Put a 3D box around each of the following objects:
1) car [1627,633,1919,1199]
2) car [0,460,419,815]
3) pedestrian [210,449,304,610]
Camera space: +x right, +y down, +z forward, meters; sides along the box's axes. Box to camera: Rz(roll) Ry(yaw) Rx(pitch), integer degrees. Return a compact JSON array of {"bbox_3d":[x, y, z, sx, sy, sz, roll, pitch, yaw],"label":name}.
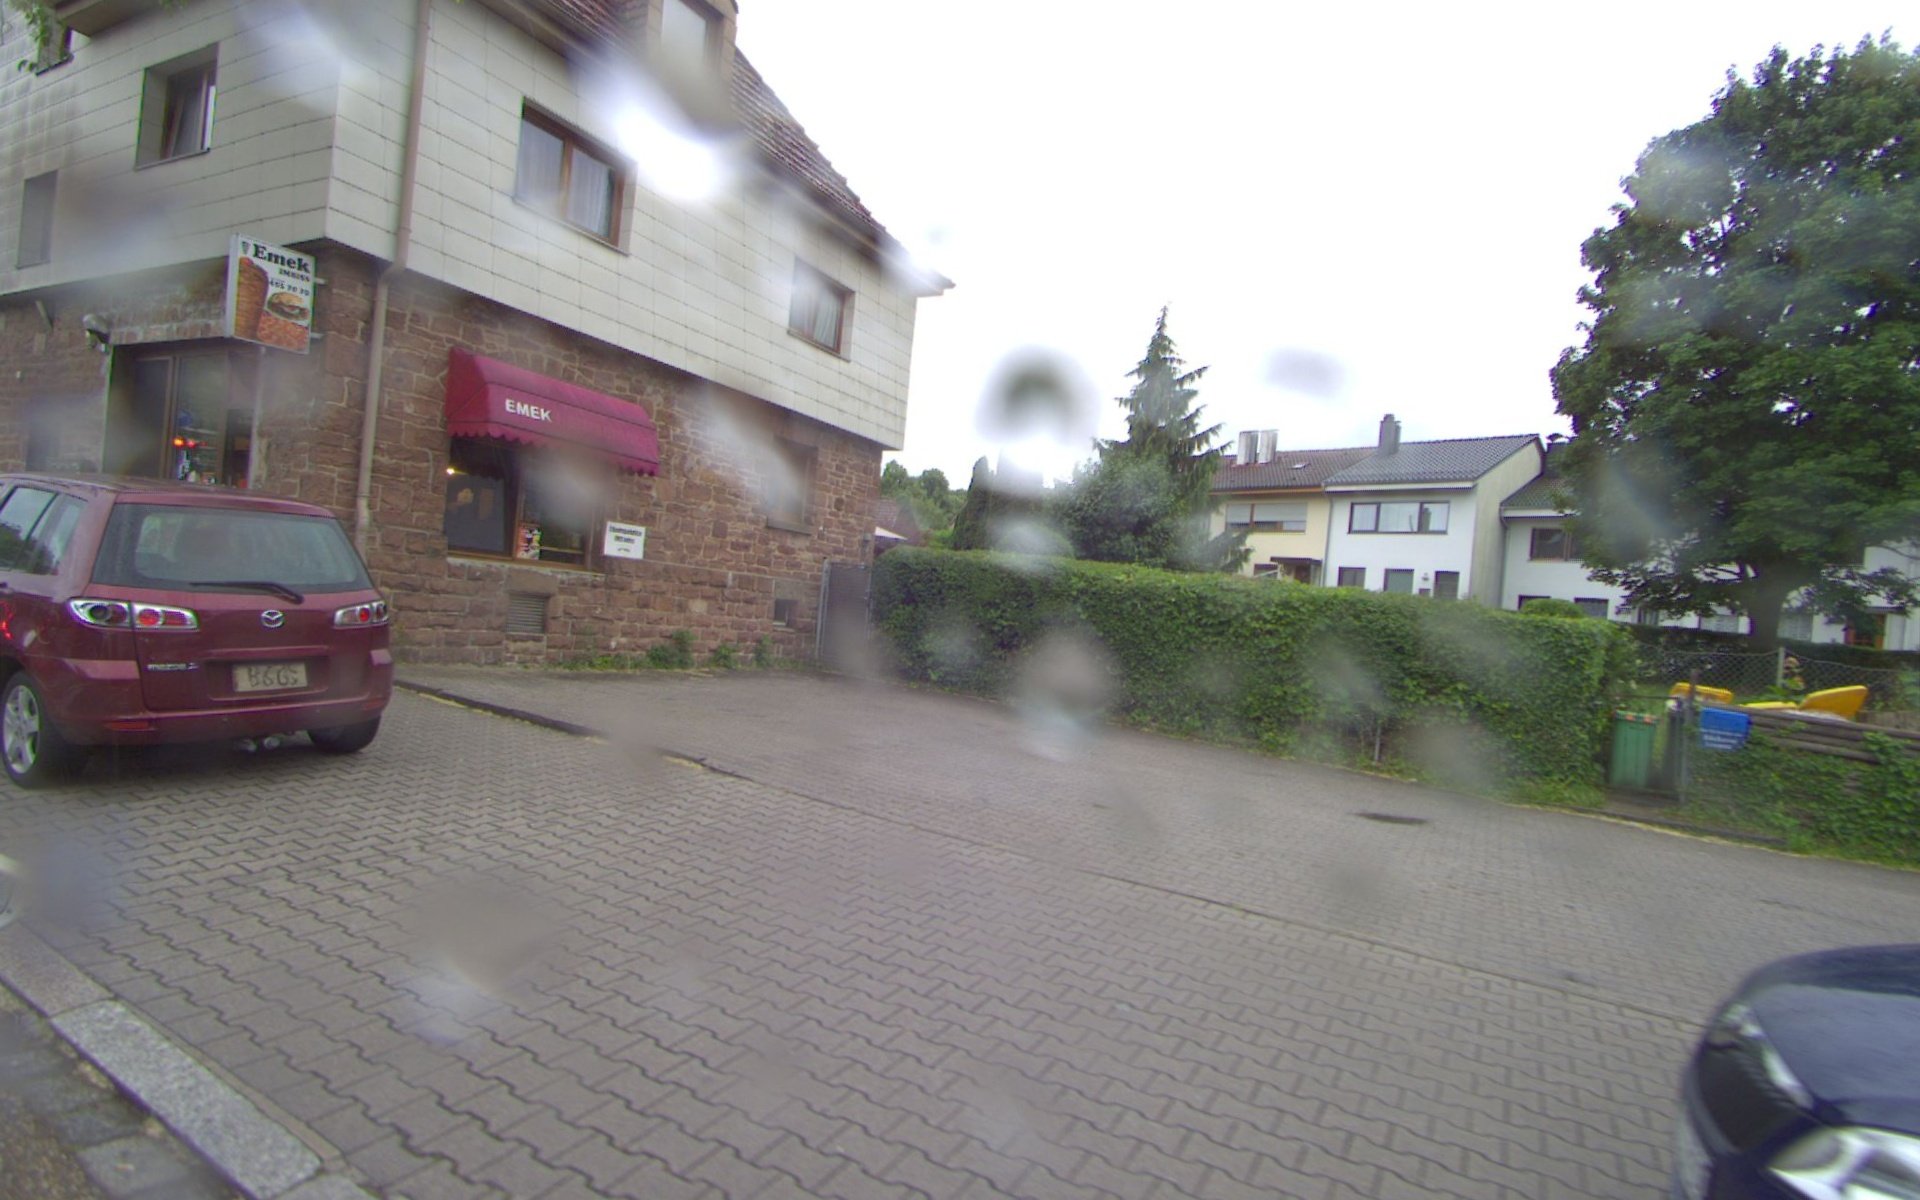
[{"bbox_3d":[3.175,1.018,1.155,3.791,1.492,1.604,7,3,31],"label":"car"},{"bbox_3d":[-5.068,0.004,5.940,3.565,1.511,1.584,8,3,29],"label":"car"},{"bbox_3d":[-8.612,-0.850,12.335,0.475,1.862,0.638,7,0,32],"label":"pedestrian"}]
